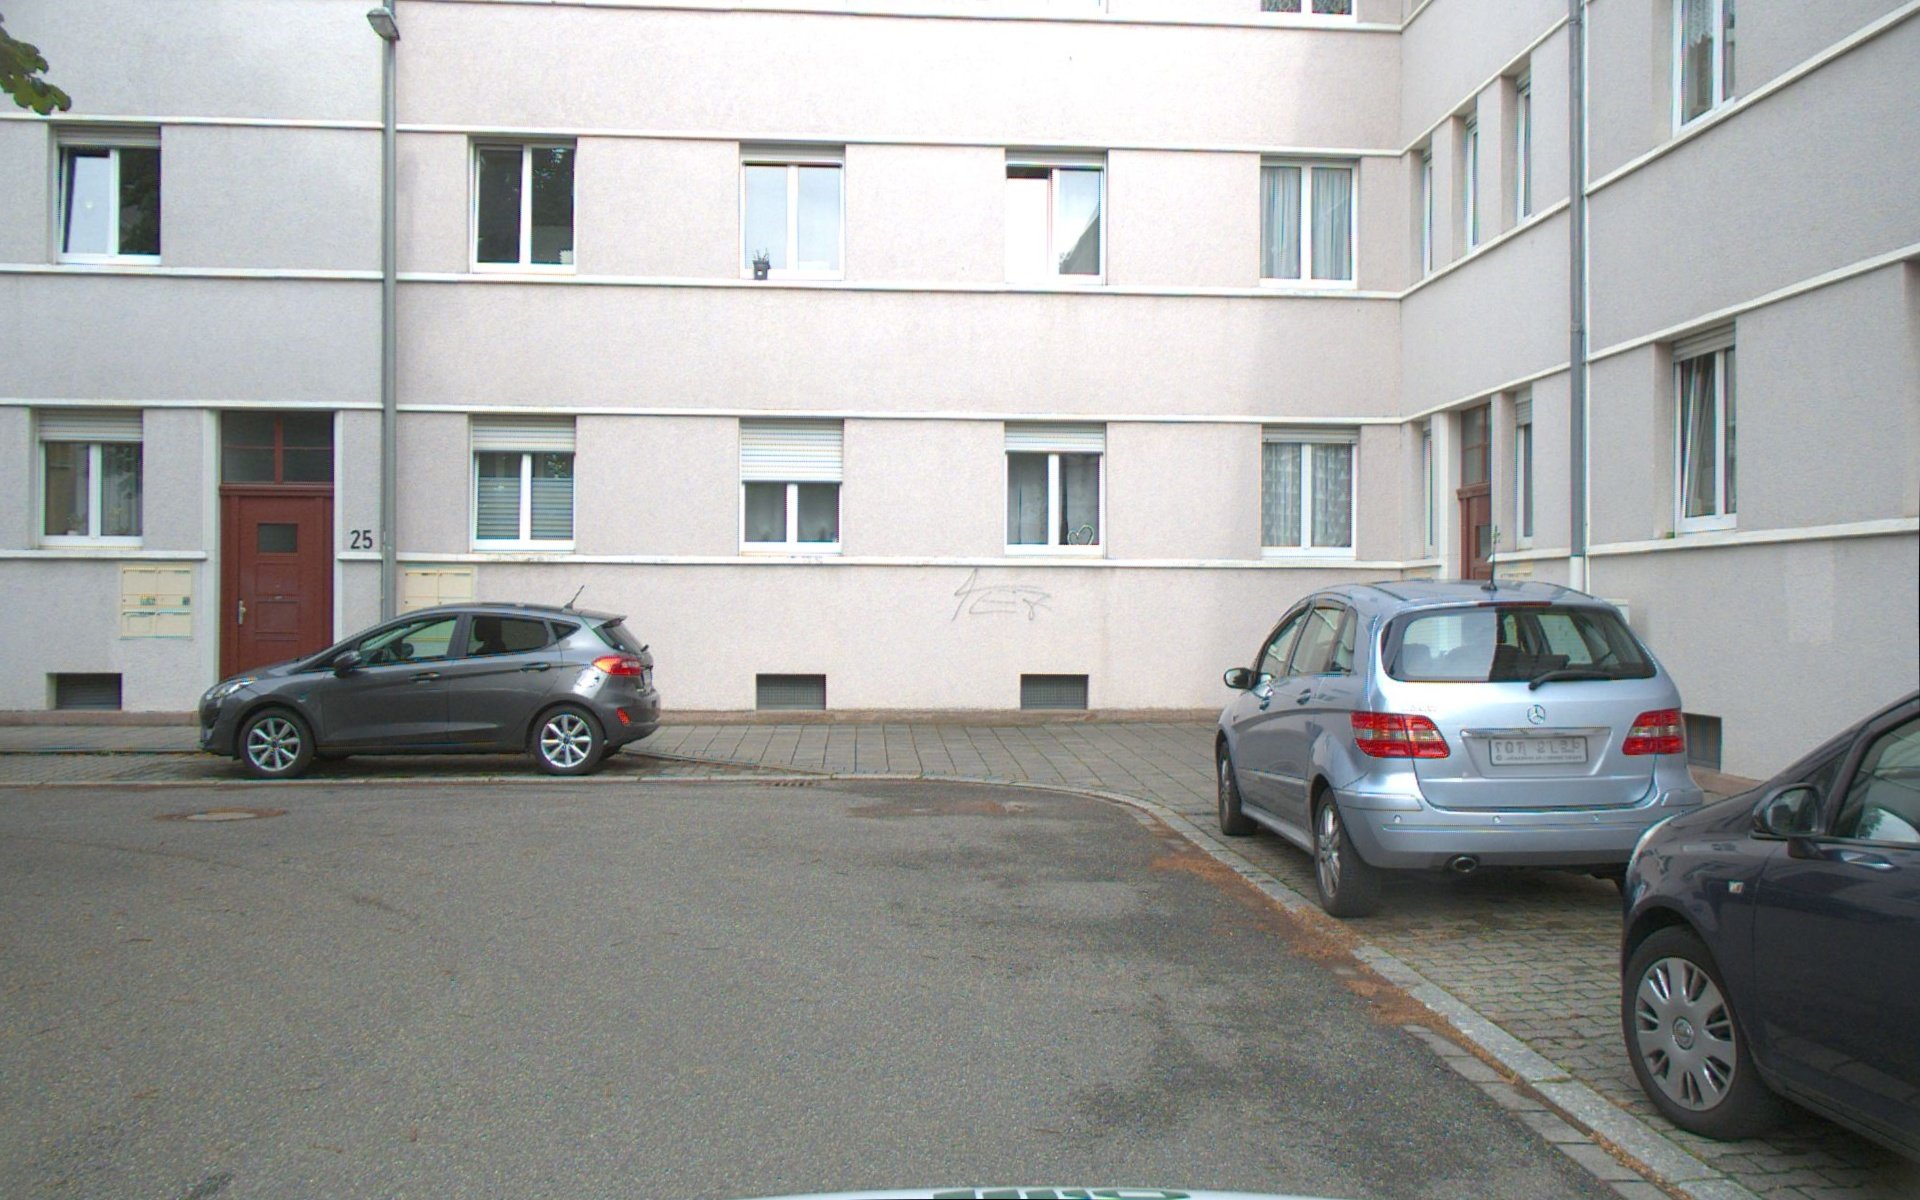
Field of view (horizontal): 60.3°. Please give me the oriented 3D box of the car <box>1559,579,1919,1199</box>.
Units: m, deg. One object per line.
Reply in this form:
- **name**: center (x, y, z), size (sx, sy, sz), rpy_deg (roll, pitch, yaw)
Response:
- **car**: center (2.996, 0.717, 3.700), size (1.722, 1.516, 3.934), rpy_deg (0, -1, -3)

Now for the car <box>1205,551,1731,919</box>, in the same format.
- **car**: center (2.619, 0.638, 9.600), size (1.721, 1.656, 4.199), rpy_deg (0, -1, -1)

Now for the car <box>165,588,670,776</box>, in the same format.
- **car**: center (-4.713, 0.696, 14.872), size (3.986, 1.552, 1.761), rpy_deg (1, 1, -5)

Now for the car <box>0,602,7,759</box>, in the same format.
- **car**: center (-11.175, 0.723, 14.232), size (4.837, 1.445, 1.749), rpy_deg (1, 1, -5)
